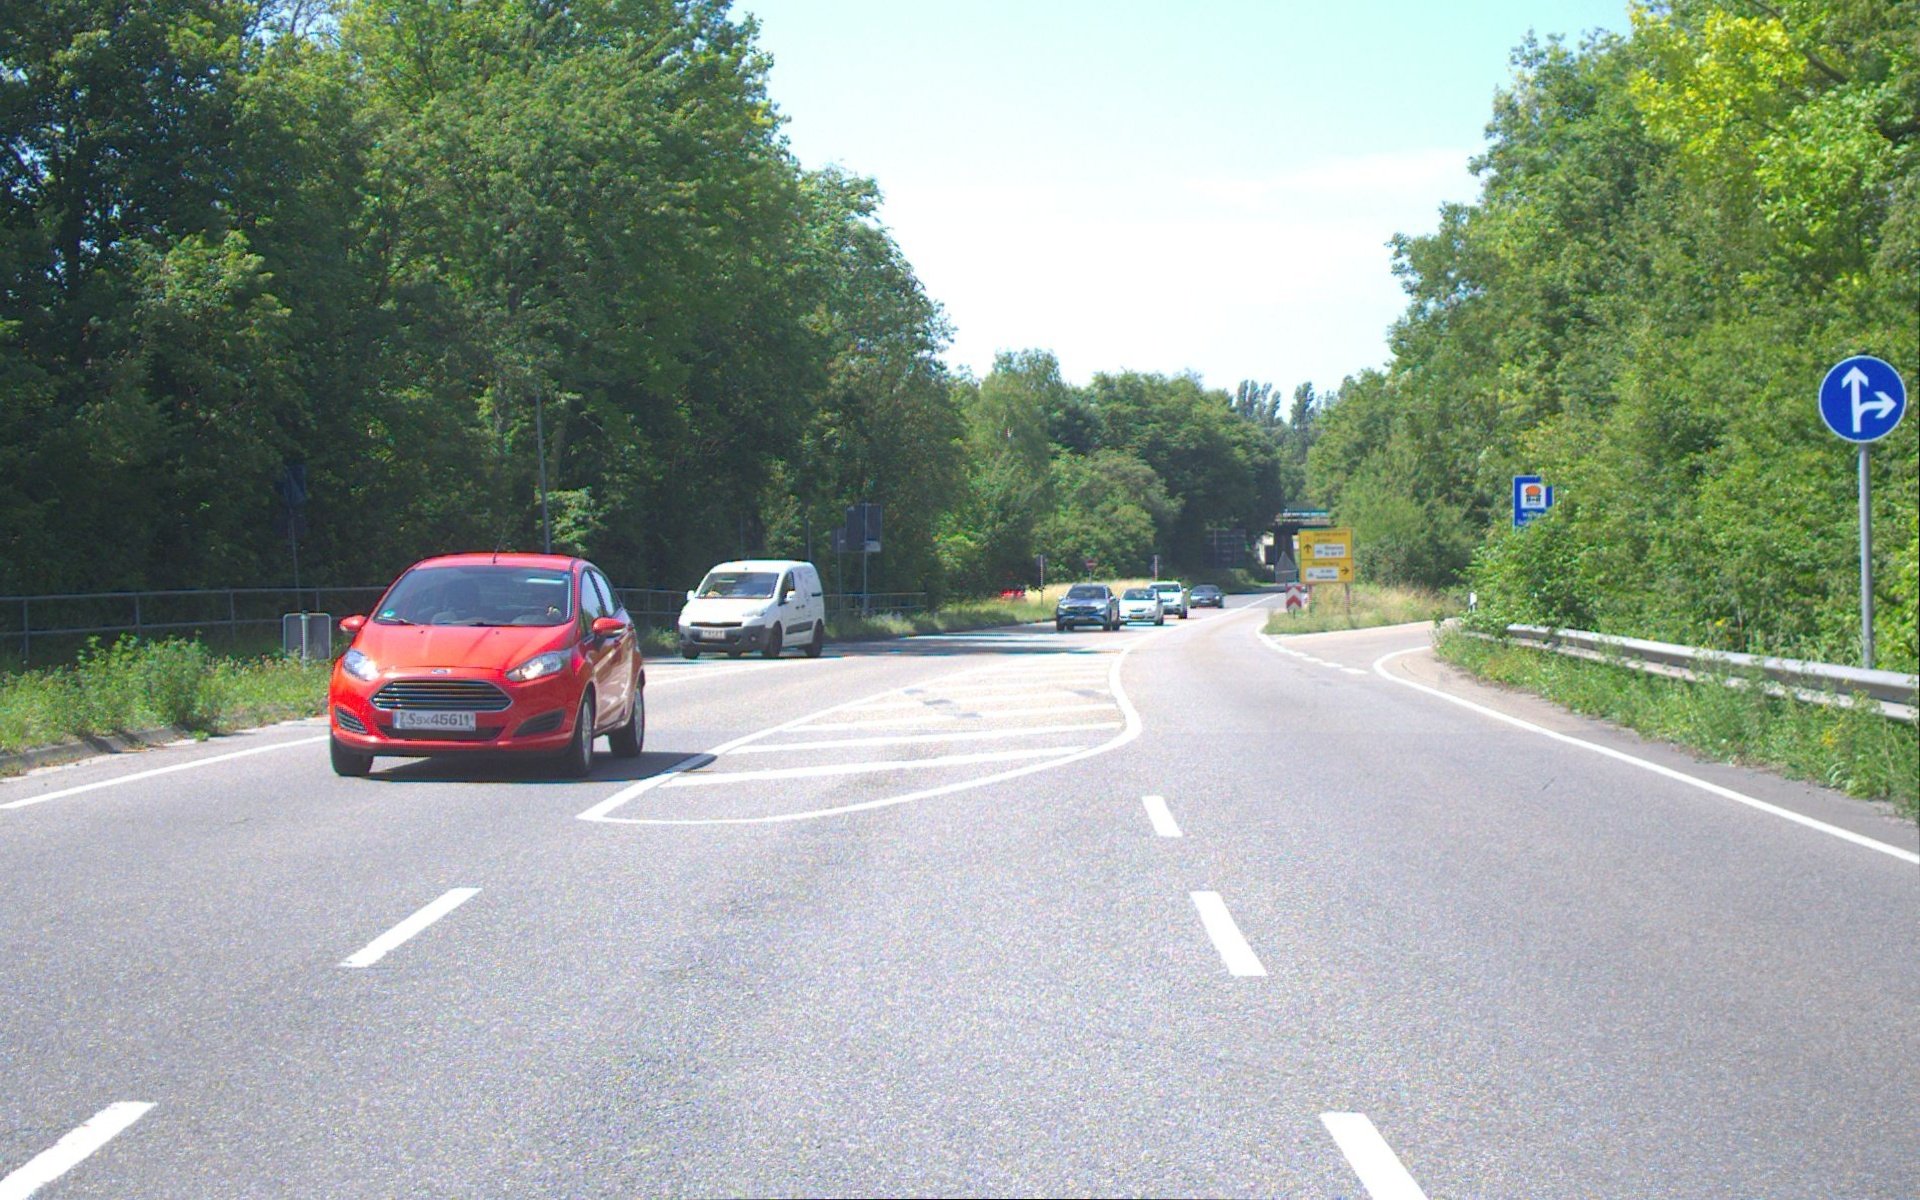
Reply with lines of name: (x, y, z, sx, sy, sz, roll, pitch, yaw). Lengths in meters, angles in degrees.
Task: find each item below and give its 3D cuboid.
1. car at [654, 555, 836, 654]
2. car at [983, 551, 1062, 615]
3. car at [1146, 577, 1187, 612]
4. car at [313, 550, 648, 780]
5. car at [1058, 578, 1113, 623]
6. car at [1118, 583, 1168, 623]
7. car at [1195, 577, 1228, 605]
car: (-3.893, 0.054, 62.941, 1.995, 1.724, 4.271, 0, 1, 16)
car: (3.235, -0.904, 178.477, 1.993, 3.215, 4.809, -1, 1, -28)
car: (9.606, -0.267, 159.915, 1.720, 1.523, 3.709, 0, 1, 6)
car: (-3.205, 0.390, 23.638, 1.810, 1.453, 3.758, 0, 1, -1)
car: (4.441, -0.005, 121.421, 1.677, 1.522, 3.999, 0, 1, 6)
car: (7.314, 0.114, 136.977, 1.678, 1.522, 3.999, 0, 1, 8)
car: (14.423, -0.522, 197.026, 1.720, 1.504, 3.709, 0, 1, 6)
